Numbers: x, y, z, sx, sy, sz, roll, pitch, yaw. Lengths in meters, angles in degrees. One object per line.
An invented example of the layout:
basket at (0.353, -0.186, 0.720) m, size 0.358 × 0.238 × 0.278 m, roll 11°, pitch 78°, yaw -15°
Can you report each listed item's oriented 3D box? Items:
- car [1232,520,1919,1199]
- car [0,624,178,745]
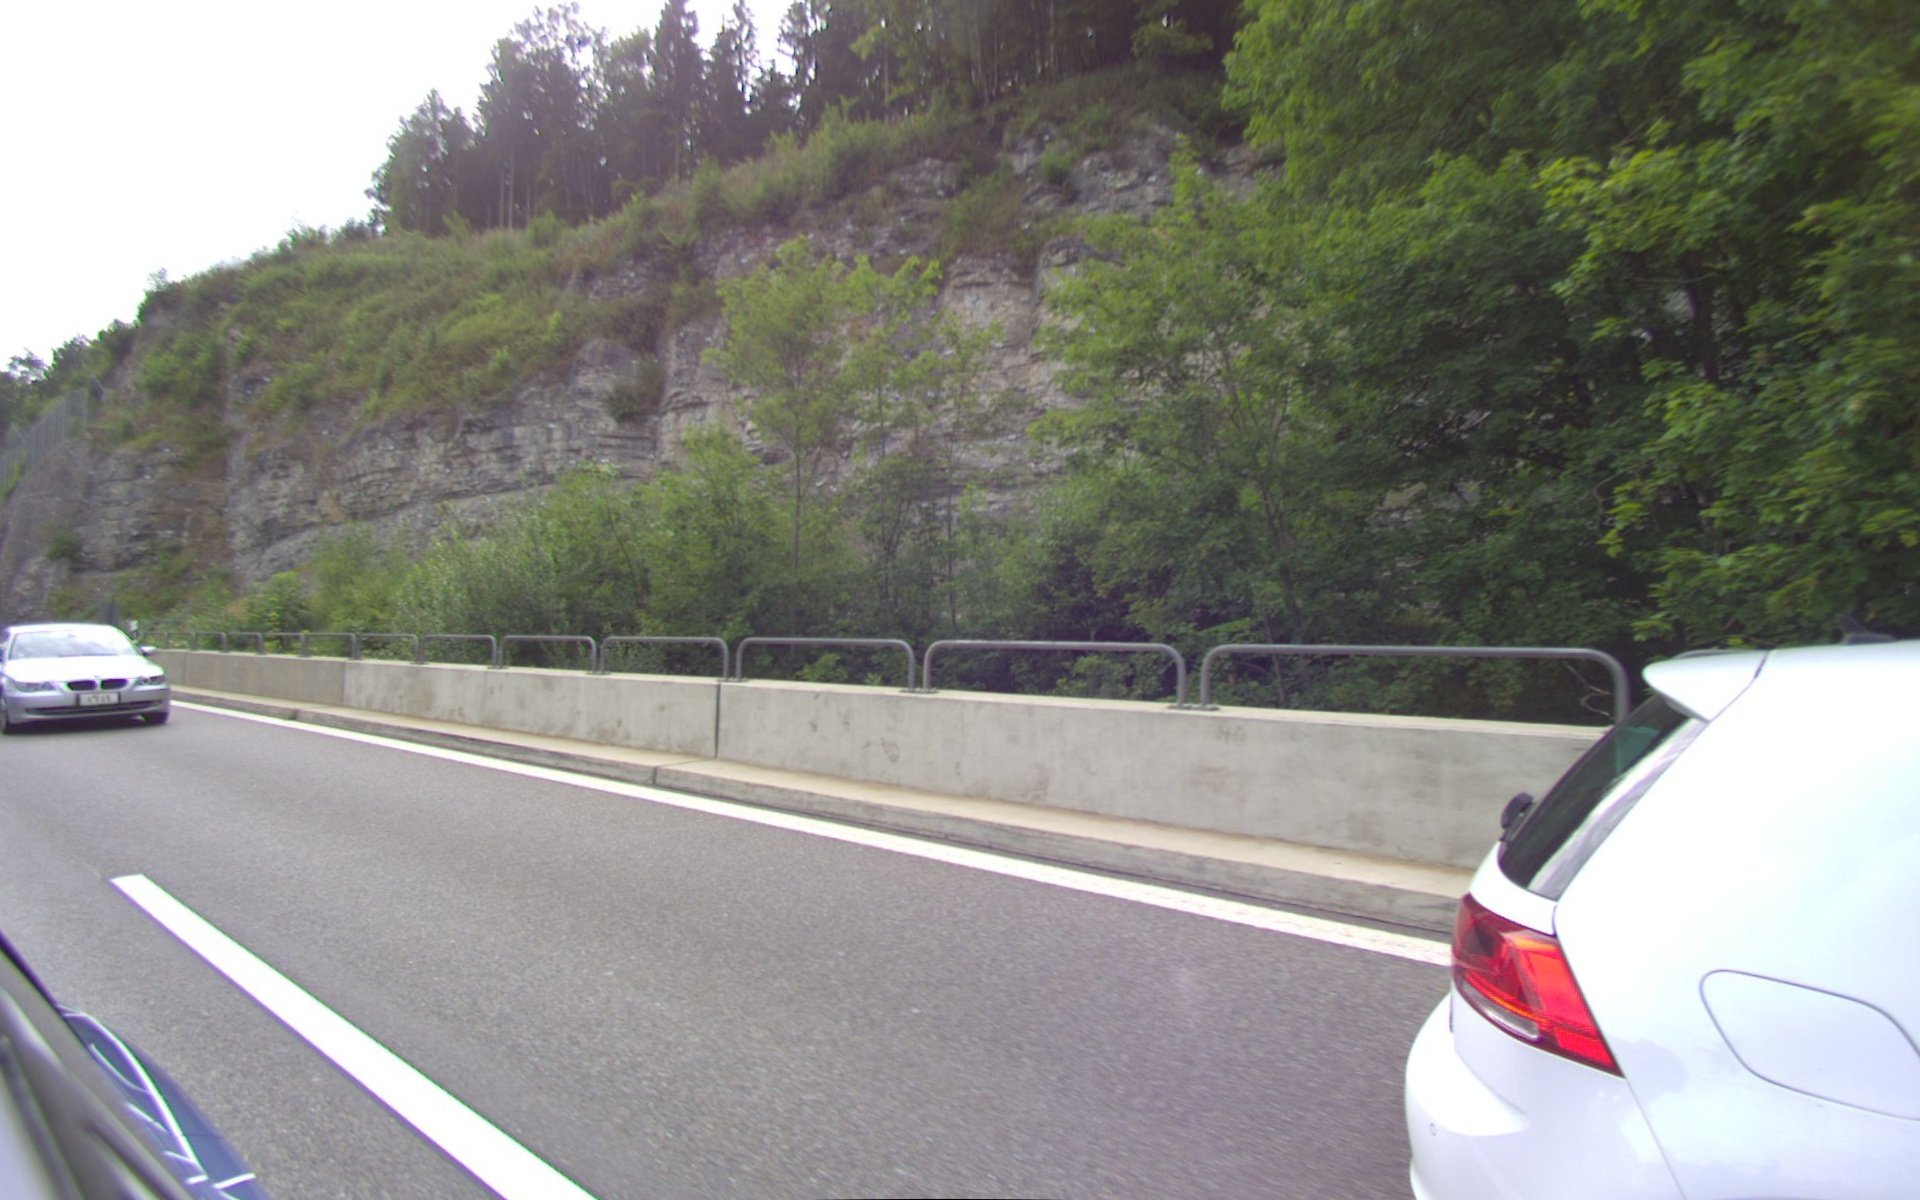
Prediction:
car at (2.797, 0.641, 0.890) m, size 4.626 × 1.493 × 1.825 m, roll -1°, pitch -2°, yaw 42°
car at (-13.367, 1.140, 15.019) m, size 5.132 × 1.468 × 1.809 m, roll -2°, pitch -1°, yaw 41°
